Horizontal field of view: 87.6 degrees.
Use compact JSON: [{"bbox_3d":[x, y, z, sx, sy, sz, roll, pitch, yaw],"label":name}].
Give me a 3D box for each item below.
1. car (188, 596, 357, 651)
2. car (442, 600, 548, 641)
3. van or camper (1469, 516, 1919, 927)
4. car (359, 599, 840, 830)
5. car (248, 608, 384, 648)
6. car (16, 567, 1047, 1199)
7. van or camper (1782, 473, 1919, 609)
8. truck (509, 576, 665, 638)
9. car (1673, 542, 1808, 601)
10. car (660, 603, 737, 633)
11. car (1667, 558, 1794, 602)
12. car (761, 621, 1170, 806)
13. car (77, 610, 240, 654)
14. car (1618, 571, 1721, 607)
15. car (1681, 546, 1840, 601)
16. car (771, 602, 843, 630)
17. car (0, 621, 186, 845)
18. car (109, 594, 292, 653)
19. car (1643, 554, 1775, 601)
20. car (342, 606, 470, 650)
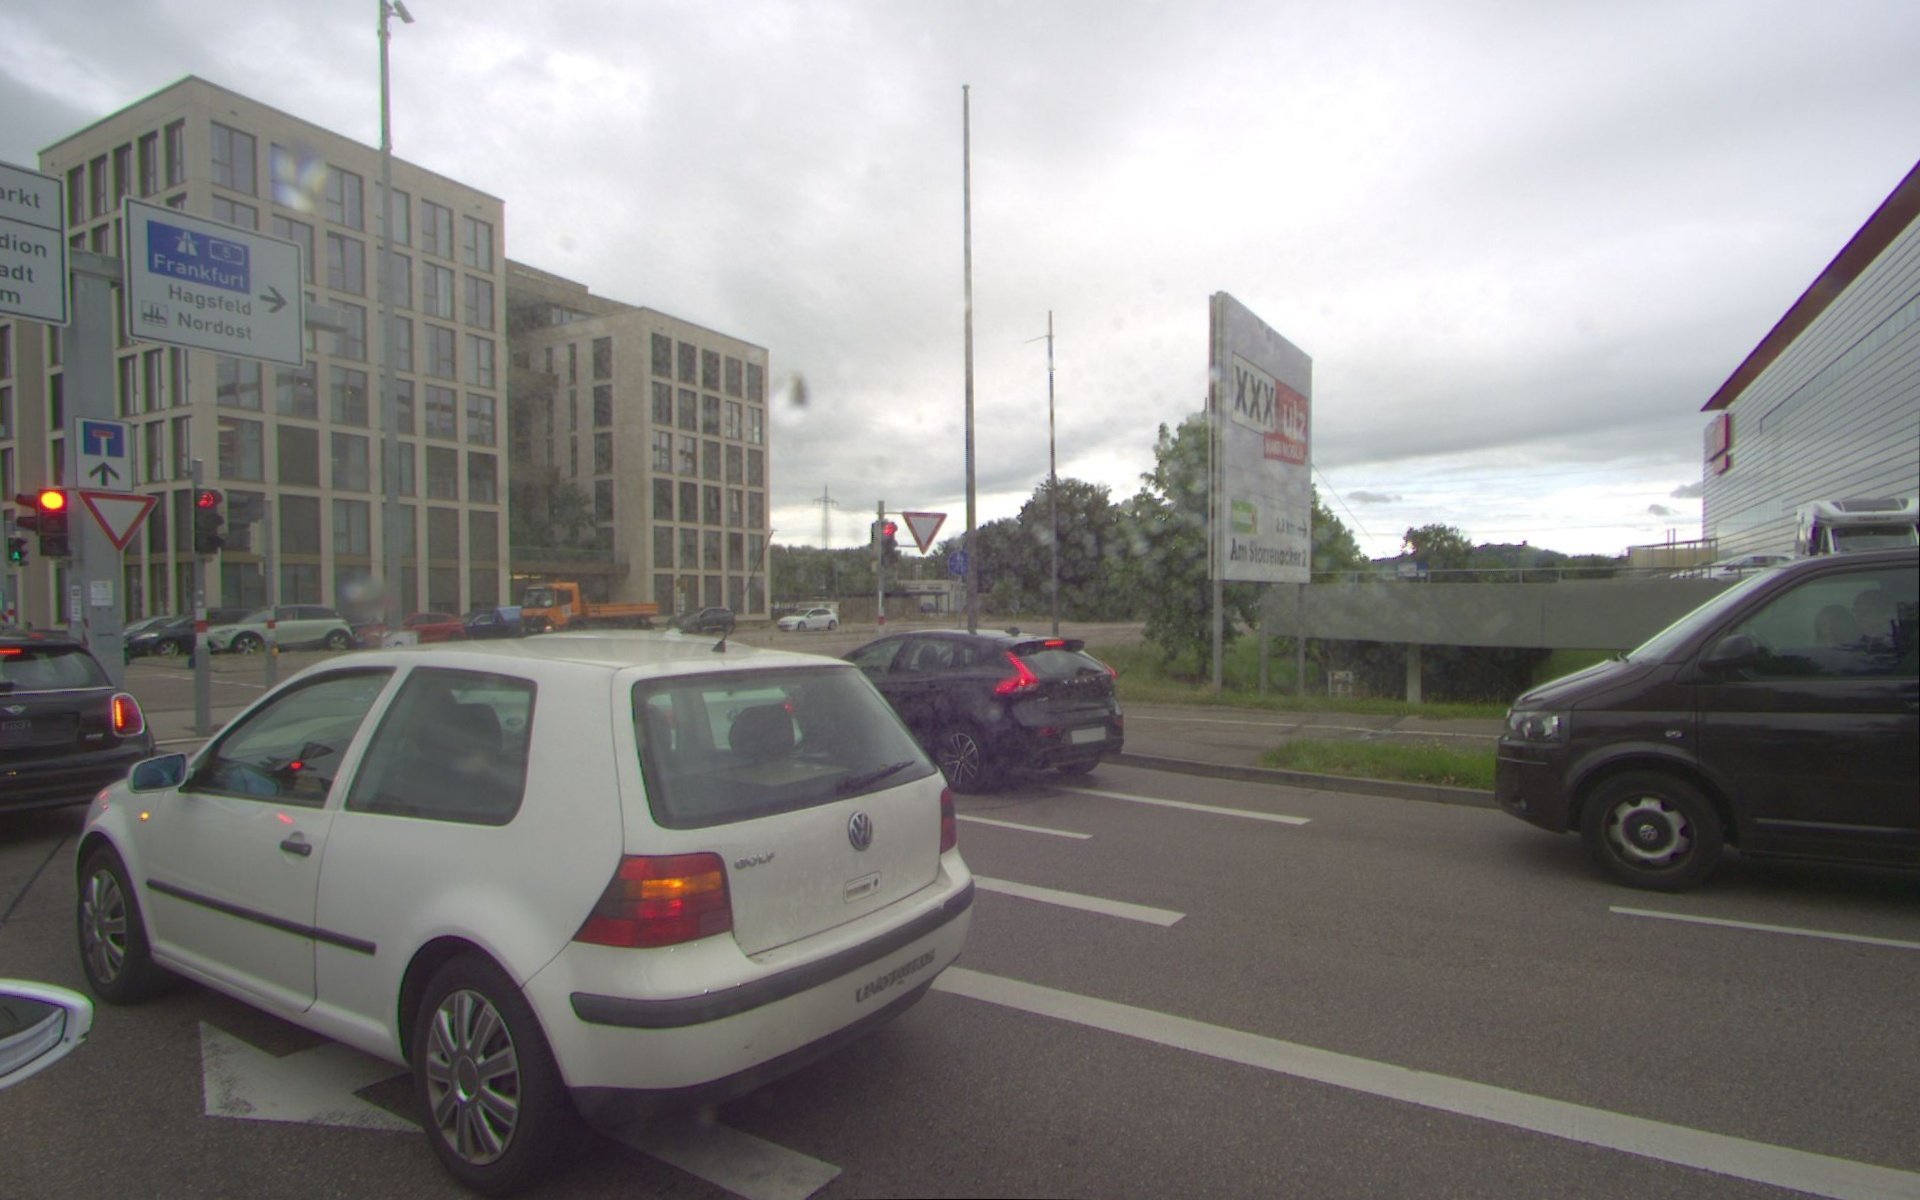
[{"bbox_3d":[-21.871,0.780,32.026,1.875,1.664,4.055,-1,-2,27],"label":"car"},{"bbox_3d":[-21.498,0.986,46.432,1.969,1.791,4.134,-1,-2,28],"label":"car"},{"bbox_3d":[5.733,0.624,5.617,4.878,2.039,2.151,-1,-2,35],"label":"van or camper"},{"bbox_3d":[-3.090,0.782,8.216,4.146,1.428,1.822,-2,-2,38],"label":"car"},{"bbox_3d":[-25.187,1.117,39.336,1.843,1.509,4.134,-1,-2,28],"label":"car"},{"bbox_3d":[-1.827,0.749,3.939,3.948,1.496,1.829,-1,-2,32],"label":"car"},{"bbox_3d":[25.392,-1.441,28.046,2.676,3.175,7.201,-1,-2,32],"label":"van or camper"},{"bbox_3d":[-17.323,0.433,46.975,2.779,2.672,6.647,-1,-2,30],"label":"truck"},{"bbox_3d":[30.142,-1.060,38.841,3.945,2.039,1.989,-1,-2,34],"label":"car"},{"bbox_3d":[-15.071,1.074,57.874,1.972,1.678,4.098,-1,-2,33],"label":"car"},{"bbox_3d":[33.365,-0.812,43.516,4.199,1.697,1.768,-1,-2,32],"label":"car"},{"bbox_3d":[-0.136,0.977,10.112,1.885,1.467,4.144,1,-2,-41],"label":"car"},{"bbox_3d":[-27.746,1.119,34.819,1.724,1.450,4.083,-1,-2,28],"label":"car"},{"bbox_3d":[36.375,-0.539,51.497,4.199,1.697,1.768,-1,-2,32],"label":"car"},{"bbox_3d":[28.409,-0.891,35.717,4.199,1.697,1.768,-1,-2,32],"label":"car"},{"bbox_3d":[-9.802,1.071,64.296,1.977,1.678,4.326,-2,-2,41],"label":"car"},{"bbox_3d":[-7.606,0.895,7.476,3.591,1.433,1.783,-1,-2,32],"label":"car"},{"bbox_3d":[-24.992,0.807,33.120,1.969,1.791,4.405,-1,-2,28],"label":"car"},{"bbox_3d":[30.957,-0.886,41.563,4.199,1.697,1.768,-1,-2,32],"label":"car"},{"bbox_3d":[-21.625,1.126,39.239,1.970,1.622,3.984,-1,-2,29],"label":"car"}]
